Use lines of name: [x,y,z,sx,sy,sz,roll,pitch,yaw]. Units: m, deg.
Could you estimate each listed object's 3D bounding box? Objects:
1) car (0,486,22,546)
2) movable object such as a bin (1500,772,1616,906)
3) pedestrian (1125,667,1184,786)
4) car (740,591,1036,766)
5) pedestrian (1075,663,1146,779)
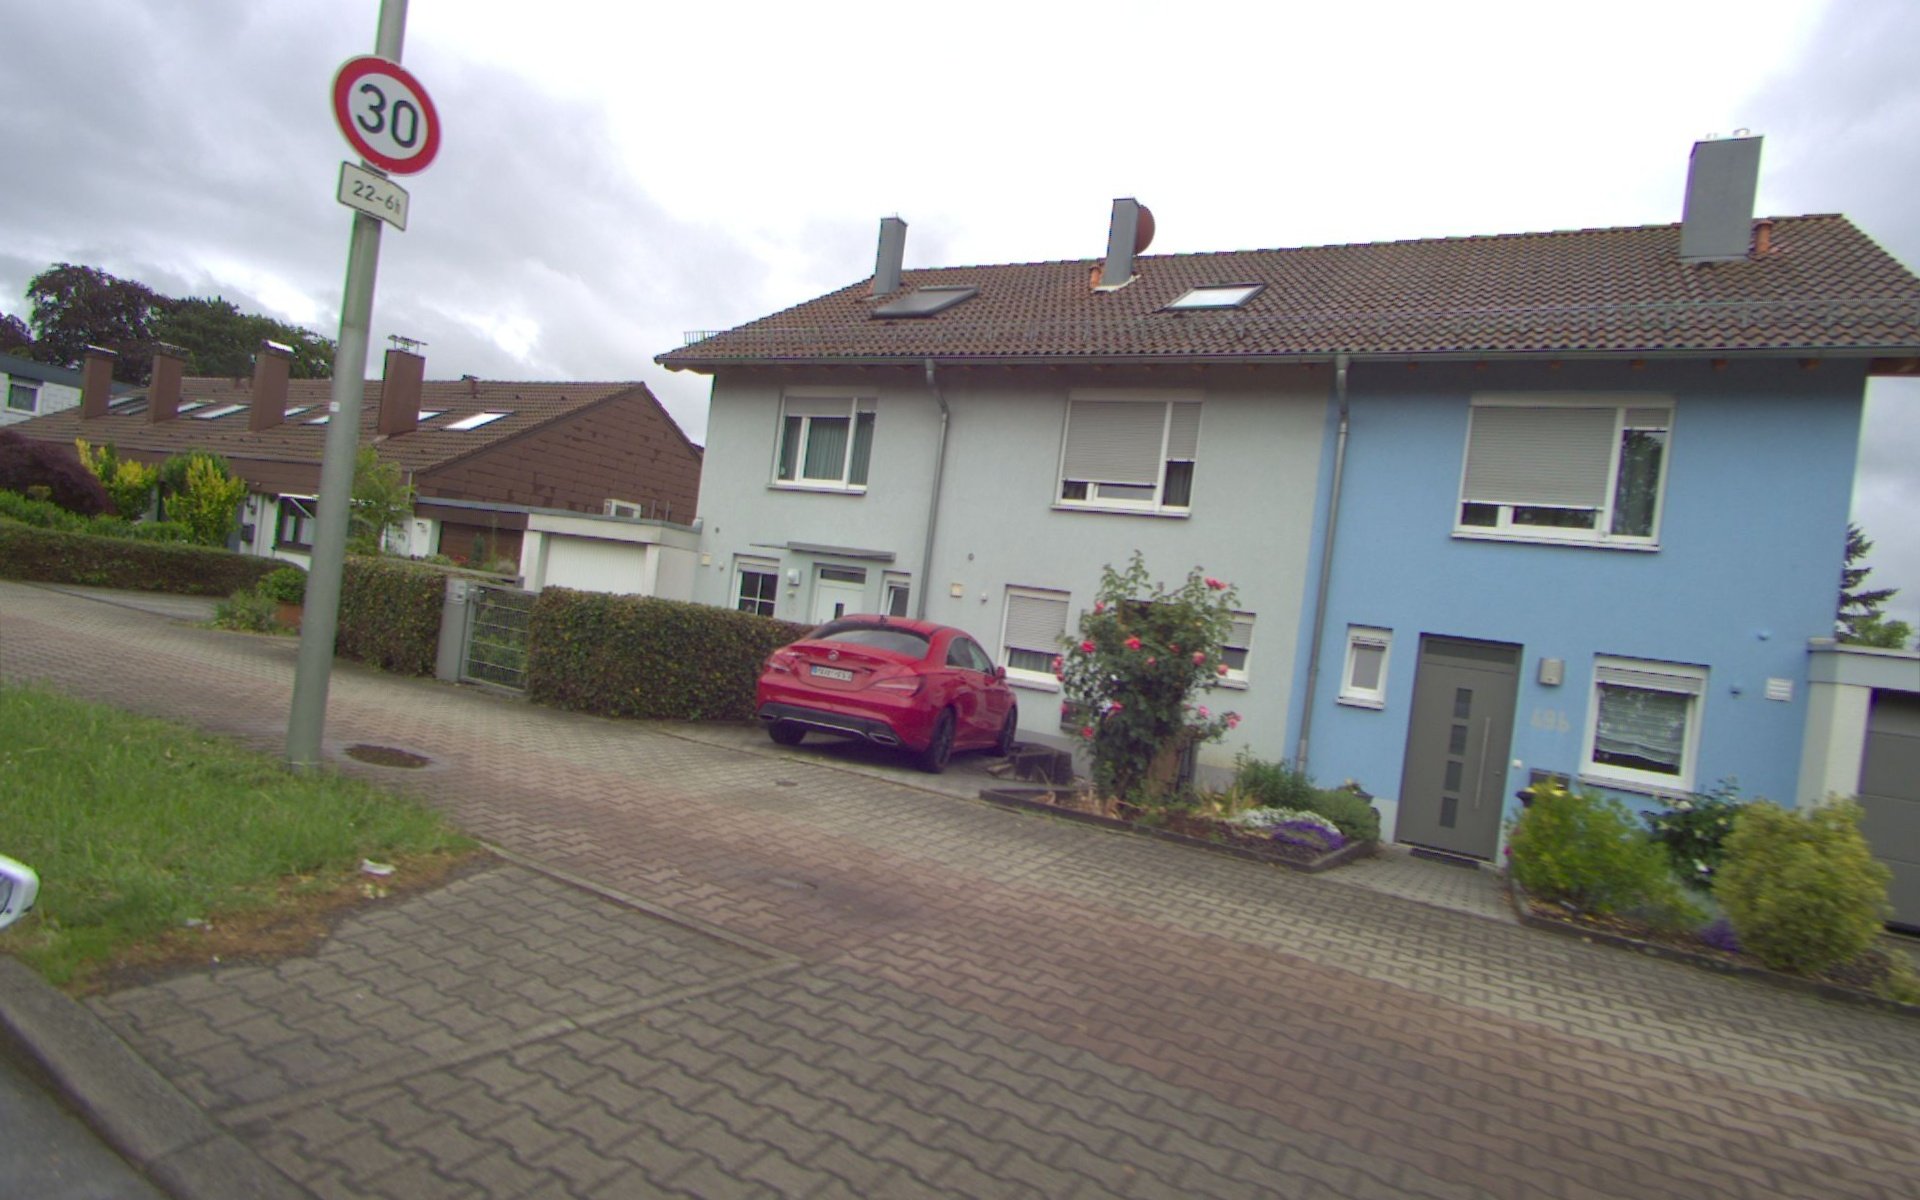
car: [-25.734,-2.340,24.346,1.815,1.459,3.997,7,-1,27]
movable object such as a bin: [5.609,2.216,9.488,0.803,0.975,0.895,7,0,29]
pedestrian: [2.412,1.538,12.422,0.519,1.367,0.537,7,0,16]
car: [-0.502,0.831,10.808,1.647,1.275,4.323,8,-2,16]
pedestrian: [1.904,1.533,12.762,0.493,1.367,0.558,7,0,-39]
